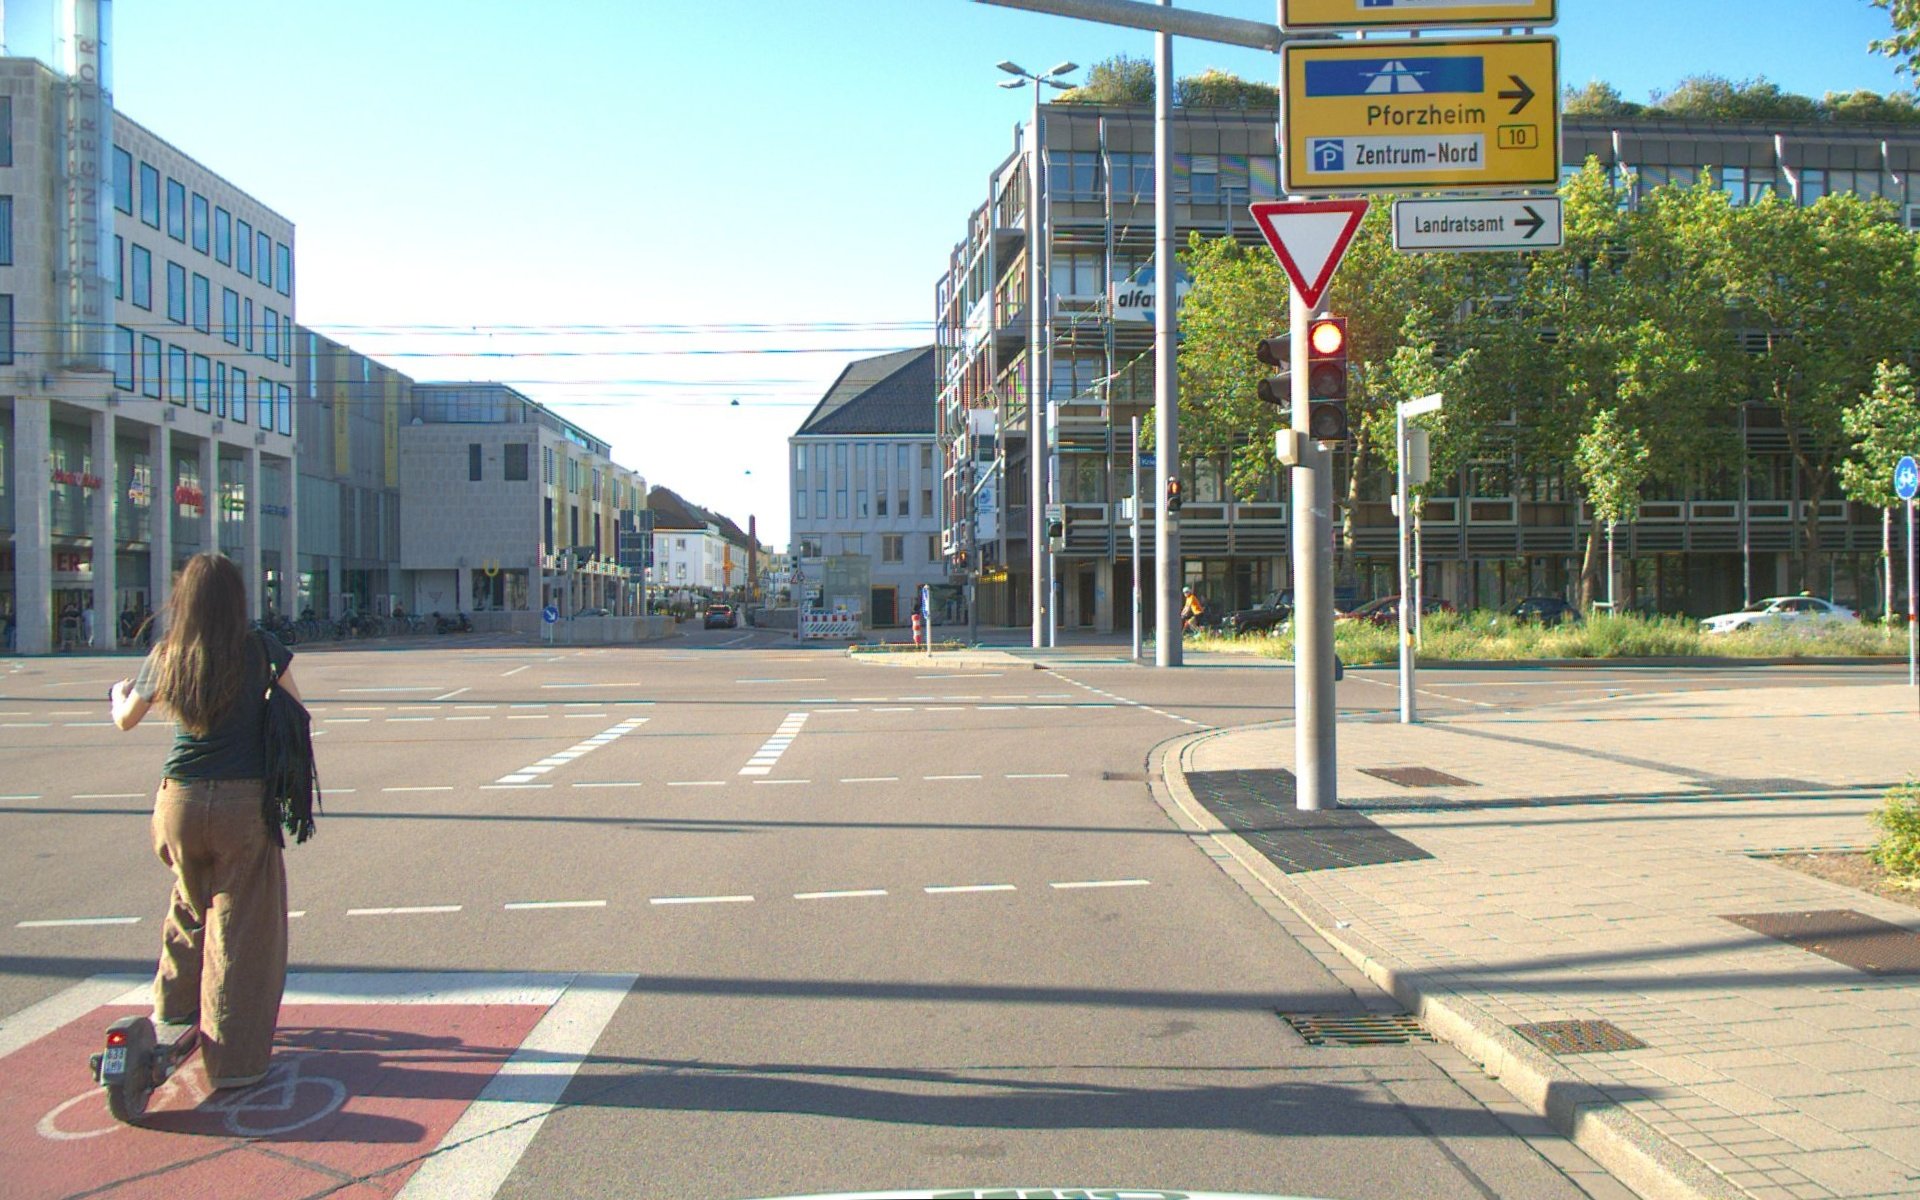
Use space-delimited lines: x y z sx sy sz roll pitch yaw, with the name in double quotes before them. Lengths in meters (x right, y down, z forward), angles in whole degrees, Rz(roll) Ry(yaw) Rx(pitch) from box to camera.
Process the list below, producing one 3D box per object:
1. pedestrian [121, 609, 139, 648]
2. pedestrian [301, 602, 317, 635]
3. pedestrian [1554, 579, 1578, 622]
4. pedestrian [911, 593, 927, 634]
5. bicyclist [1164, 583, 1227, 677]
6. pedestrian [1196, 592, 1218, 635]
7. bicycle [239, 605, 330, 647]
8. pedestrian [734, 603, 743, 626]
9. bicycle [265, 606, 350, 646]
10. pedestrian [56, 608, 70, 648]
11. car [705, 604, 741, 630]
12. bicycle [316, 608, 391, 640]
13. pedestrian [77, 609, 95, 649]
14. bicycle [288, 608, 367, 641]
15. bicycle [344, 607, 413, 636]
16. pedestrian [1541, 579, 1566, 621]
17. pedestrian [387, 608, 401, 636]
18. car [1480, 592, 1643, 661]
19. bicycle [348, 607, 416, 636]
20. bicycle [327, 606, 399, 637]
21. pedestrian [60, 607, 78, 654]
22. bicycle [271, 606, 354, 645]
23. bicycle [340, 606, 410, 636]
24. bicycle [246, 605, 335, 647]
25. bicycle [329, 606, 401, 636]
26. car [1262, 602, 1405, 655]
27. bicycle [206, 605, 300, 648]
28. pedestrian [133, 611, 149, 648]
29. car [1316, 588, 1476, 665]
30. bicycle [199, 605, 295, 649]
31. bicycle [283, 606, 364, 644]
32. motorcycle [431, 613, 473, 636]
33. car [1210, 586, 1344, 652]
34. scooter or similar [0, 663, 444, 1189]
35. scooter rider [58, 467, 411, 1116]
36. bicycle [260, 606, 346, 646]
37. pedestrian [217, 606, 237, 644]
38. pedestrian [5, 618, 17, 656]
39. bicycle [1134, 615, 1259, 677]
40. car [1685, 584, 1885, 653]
"pedestrian" -34.847 1.203 69.439 0.472 1.613 0.513 -1 0 -5
"pedestrian" -33.469 0.930 85.032 0.641 1.671 0.693 -1 0 -9
"pedestrian" 24.172 0.006 65.981 0.651 1.687 0.740 -1 0 -8
"pedestrian" -1.732 0.569 69.625 0.650 1.687 0.755 -1 0 -4
"bicyclist" 6.720 0.836 47.226 1.539 2.625 0.930 -1 0 -10
"pedestrian" 9.898 0.533 66.397 0.715 1.687 0.649 -1 0 -8
"bicycle" -28.866 1.085 70.716 3.427 1.726 1.114 -1 0 -10
"pedestrian" -14.467 0.948 108.057 0.598 1.436 0.569 -1 0 -7
"bicycle" -29.796 1.175 75.585 3.430 1.726 0.984 -1 0 -12
"pedestrian" -37.195 1.158 68.553 0.379 1.613 0.367 -1 0 -6
"car" -15.495 1.094 108.166 2.157 1.635 4.320 -1 0 -6
"bicycle" -30.883 1.209 84.269 3.430 1.554 0.984 -1 0 -12
"pedestrian" -35.953 1.183 68.045 0.472 1.613 0.598 -1 0 -5
"bicycle" -30.540 1.168 79.859 3.430 1.554 0.984 -1 0 -12
"bicycle" -31.782 1.164 90.403 3.430 1.554 0.984 -1 0 -12
"pedestrian" 23.960 0.006 66.764 0.651 1.687 0.740 -1 0 -8
"pedestrian" -34.757 1.343 101.617 0.684 1.671 0.693 -1 0 -10
"car" 18.829 0.825 51.883 4.359 2.049 1.998 1 0 -6
"bicycle" -31.946 1.194 91.428 3.430 1.554 0.984 -1 0 -12
"bicycle" -31.070 1.117 86.131 3.430 1.554 0.984 -1 0 -12
"pedestrian" -32.590 1.112 60.494 0.534 1.671 0.546 -1 0 -26
"bicycle" -30.037 1.176 76.785 3.430 1.726 0.984 -1 0 -12
"bicycle" -31.478 1.134 89.021 3.430 1.554 0.984 -1 0 -12
"bicycle" -29.097 1.121 71.928 3.427 1.726 1.114 -1 0 -10
"bicycle" -31.387 1.105 87.247 3.430 1.554 0.984 -1 0 -12
"car" 11.441 0.867 50.819 3.908 1.534 1.867 1 0 -4
"bicycle" -29.550 1.105 69.218 3.427 1.726 1.114 -1 0 -10
"pedestrian" -34.770 1.260 70.219 0.472 1.537 0.513 -1 0 -5
"car" 12.233 0.737 46.581 3.908 2.049 1.999 1 0 -3
"bicycle" -29.320 1.111 68.036 3.427 1.726 1.114 -1 0 -10
"bicycle" -30.335 1.185 78.870 3.430 1.726 0.984 -1 0 -12
"motorcycle" -29.953 1.432 97.597 2.230 1.341 0.719 -1 0 -6
"car" 10.306 0.601 53.922 3.908 2.049 1.999 1 0 -3
"scooter or similar" -2.141 0.834 4.909 0.713 1.223 1.664 0 0 -1
"scooter rider" -2.155 0.531 5.014 0.713 1.806 0.811 0 0 -1
"bicycle" -29.572 1.166 74.497 3.430 1.726 0.984 -1 0 -12
"pedestrian" -32.968 1.130 74.372 0.776 1.671 0.688 -1 0 -30
"pedestrian" -36.620 1.423 63.812 0.382 1.437 0.433 -1 0 -29
"bicycle" 6.749 1.305 47.226 3.427 1.688 0.929 -1 0 -10
"car" 26.174 0.584 52.578 5.332 2.049 2.096 1 0 -3
